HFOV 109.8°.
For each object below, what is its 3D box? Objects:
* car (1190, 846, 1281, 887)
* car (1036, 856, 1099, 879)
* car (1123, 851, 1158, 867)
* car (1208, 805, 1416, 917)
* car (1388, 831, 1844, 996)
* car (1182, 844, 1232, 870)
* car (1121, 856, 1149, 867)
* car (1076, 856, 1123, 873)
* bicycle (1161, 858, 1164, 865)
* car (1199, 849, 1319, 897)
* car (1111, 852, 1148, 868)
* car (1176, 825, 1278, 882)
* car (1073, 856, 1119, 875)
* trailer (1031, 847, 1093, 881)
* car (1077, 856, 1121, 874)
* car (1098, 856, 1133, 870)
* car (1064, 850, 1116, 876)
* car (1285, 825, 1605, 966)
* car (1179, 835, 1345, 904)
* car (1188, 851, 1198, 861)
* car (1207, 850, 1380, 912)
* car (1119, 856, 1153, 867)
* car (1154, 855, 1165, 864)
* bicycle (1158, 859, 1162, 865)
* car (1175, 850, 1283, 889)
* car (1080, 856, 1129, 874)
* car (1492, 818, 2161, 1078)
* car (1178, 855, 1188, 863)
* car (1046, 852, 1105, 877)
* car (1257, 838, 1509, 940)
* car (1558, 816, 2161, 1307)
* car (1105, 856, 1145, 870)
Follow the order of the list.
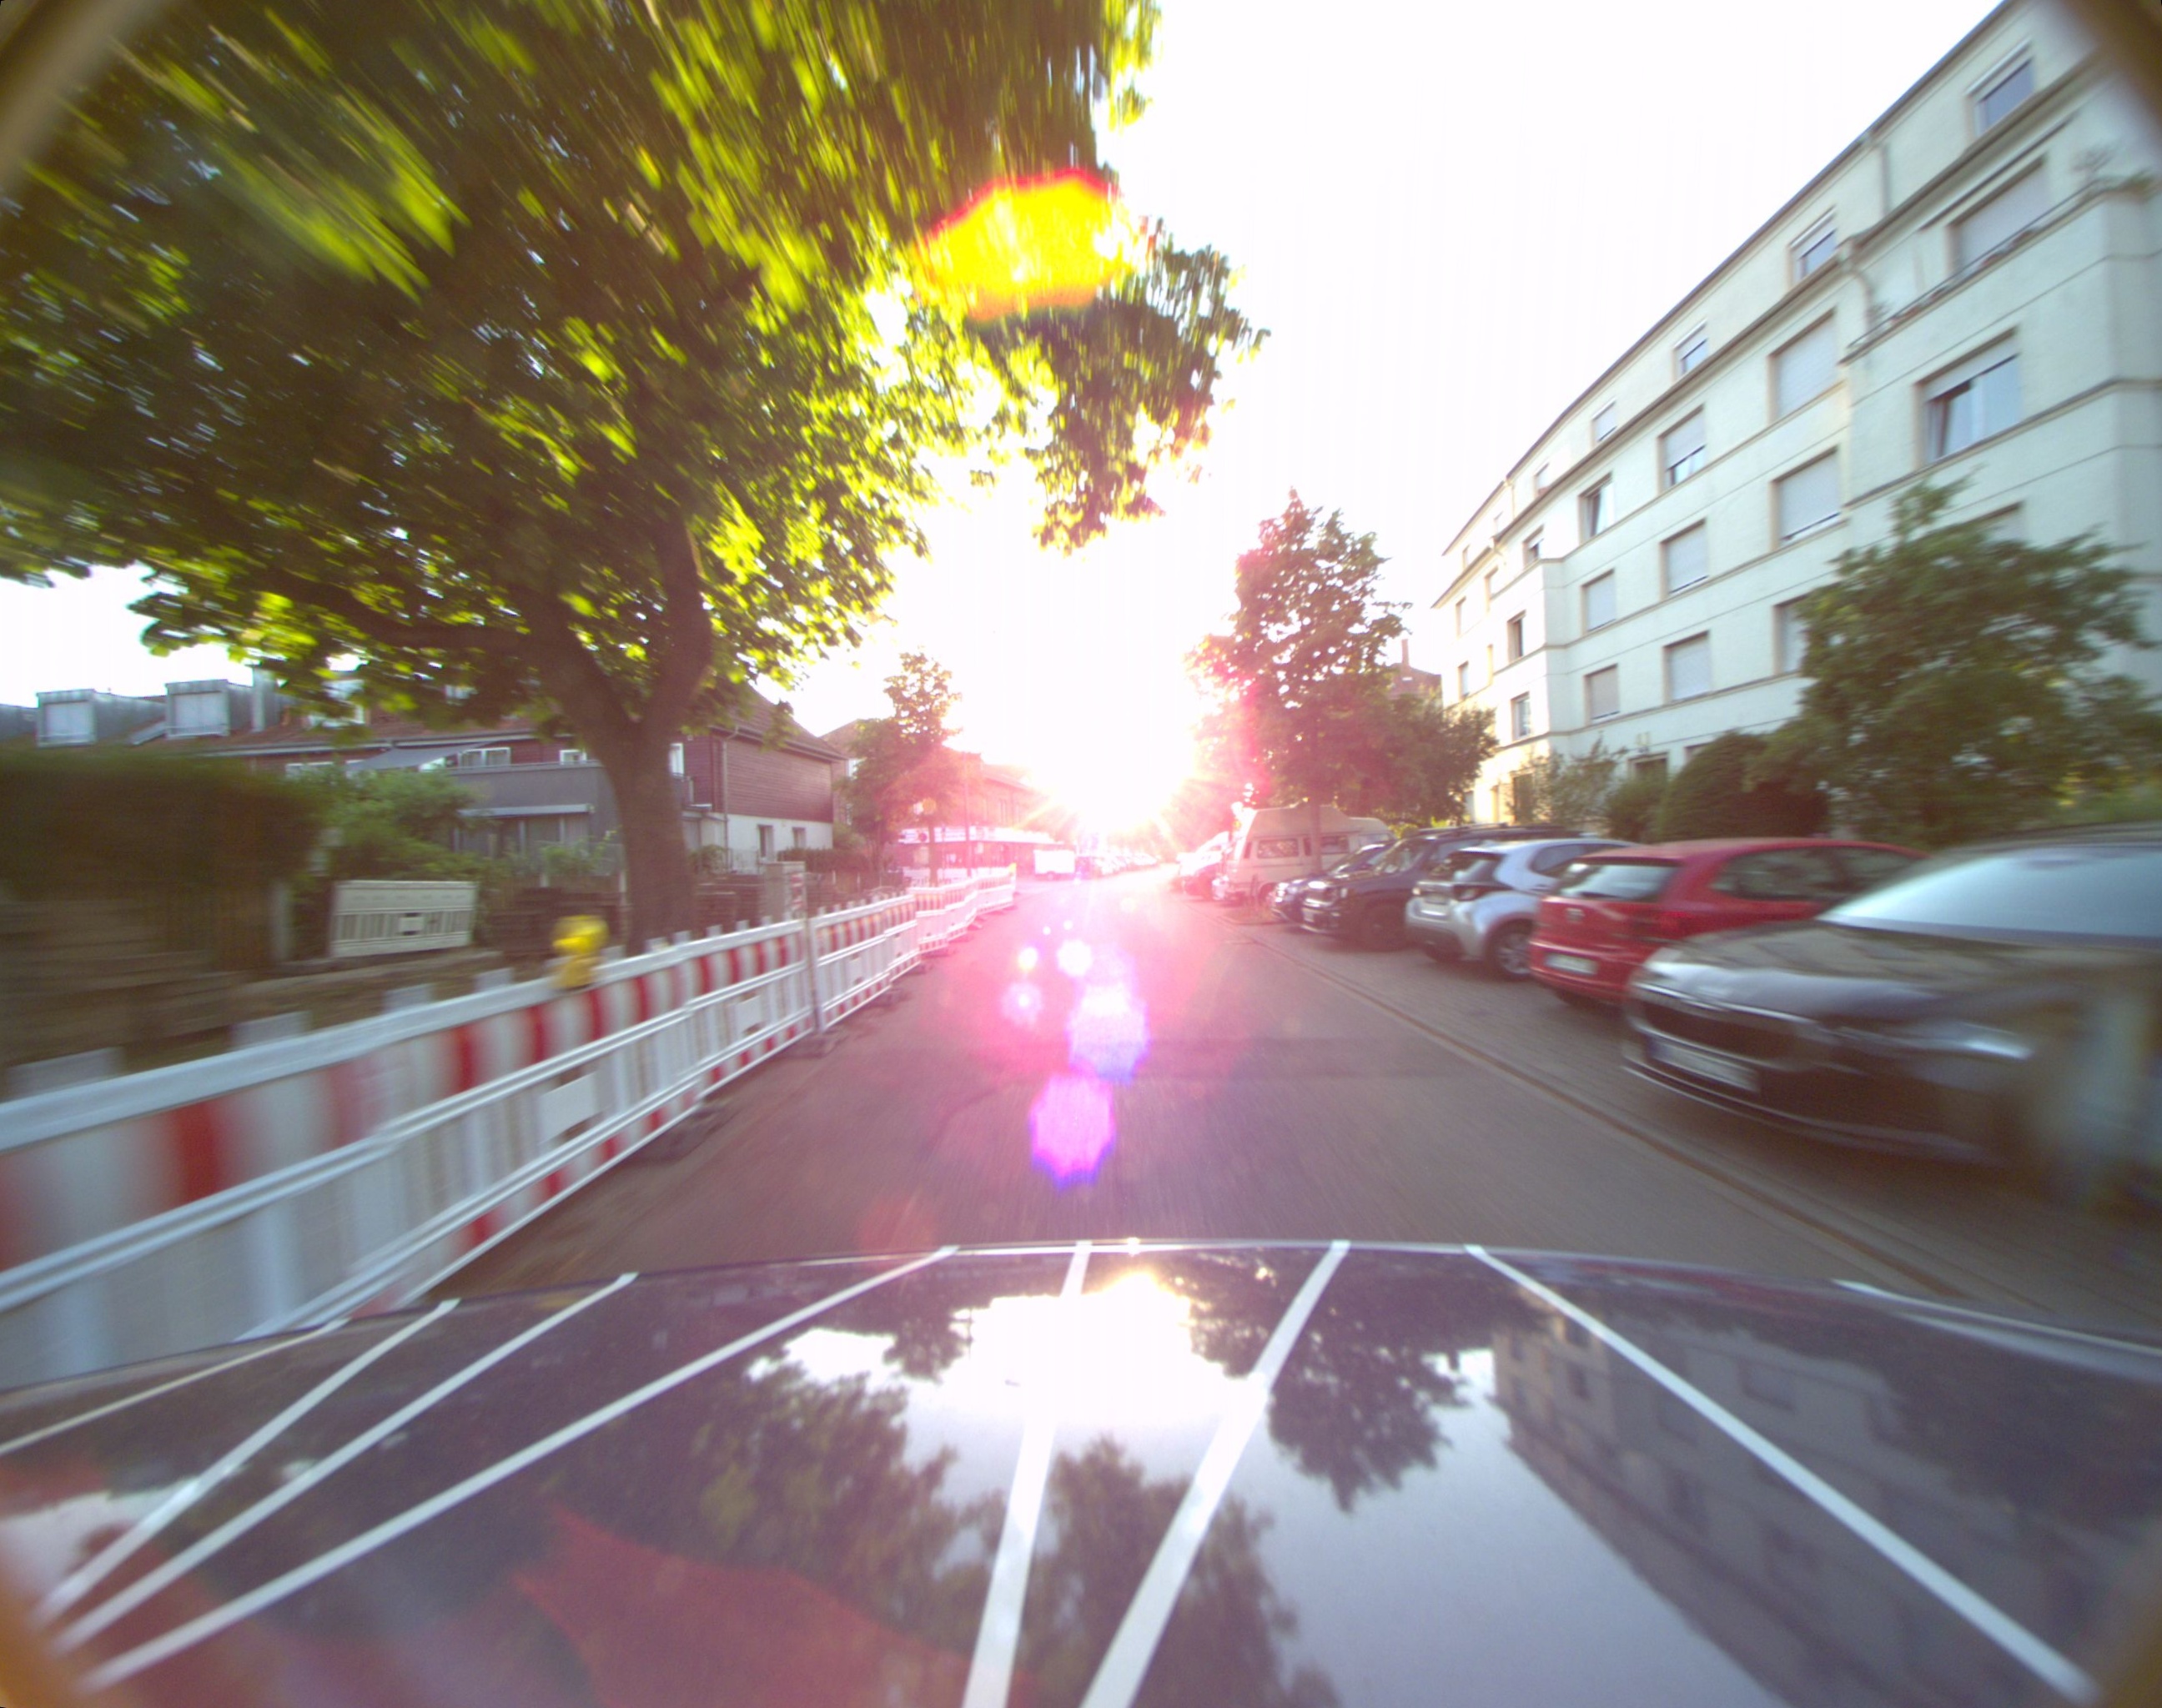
[{"bbox_3d":[6.931,0.557,34.350,3.811,1.513,1.653,-4,0,6],"label":"car"},{"bbox_3d":[-0.963,0.978,57.139,4.435,1.490,1.774,-3,0,9],"label":"car"},{"bbox_3d":[9.068,0.721,115.309,4.967,2.089,2.153,-3,1,15],"label":"car"},{"bbox_3d":[5.558,0.182,18.801,4.512,2.416,2.001,-3,0,4],"label":"car"},{"bbox_3d":[5.929,0.612,8.760,3.998,1.515,1.789,-3,0,-2],"label":"car"},{"bbox_3d":[12.202,0.332,73.691,4.520,2.057,2.002,-5,-2,13],"label":"car"},{"bbox_3d":[7.662,1.070,107.366,3.792,1.488,1.682,0,0,9],"label":"car"},{"bbox_3d":[1.861,1.045,75.339,4.422,1.565,1.983,1,0,8],"label":"car"},{"bbox_3d":[13.054,1.162,121.698,0.357,1.093,1.973,-3,0,10],"label":"bicycle"},{"bbox_3d":[6.108,0.641,26.431,3.777,1.430,1.656,-3,0,3],"label":"car"},{"bbox_3d":[6.393,0.810,100.286,4.594,1.851,2.014,2,1,12],"label":"car"},{"bbox_3d":[7.169,-0.002,37.788,4.741,2.554,2.001,-3,0,6],"label":"car"},{"bbox_3d":[1.410,1.056,70.495,3.953,1.556,1.822,-3,0,7],"label":"car"},{"bbox_3d":[-1.291,0.680,53.729,3.994,2.174,2.001,-3,0,8],"label":"trailer"},{"bbox_3d":[1.759,1.040,72.624,3.994,1.609,1.896,0,0,8],"label":"car"},{"bbox_3d":[4.148,1.074,90.696,3.993,1.537,1.846,1,1,10],"label":"car"},{"bbox_3d":[0.776,0.724,62.804,3.994,1.892,2.001,-3,0,9],"label":"car"},{"bbox_3d":[5.269,0.574,11.405,3.870,1.766,1.843,-3,0,0],"label":"car"},{"bbox_3d":[5.530,0.462,23.742,4.684,1.862,2.000,-3,0,2],"label":"car"},{"bbox_3d":[24.711,0.490,167.646,1.997,2.002,4.003,-3,0,10],"label":"car"},{"bbox_3d":[5.709,0.714,20.874,4.185,1.417,2.000,-3,0,2],"label":"car"},{"bbox_3d":[7.936,1.070,109.993,4.729,1.487,2.002,0,0,10],"label":"car"},{"bbox_3d":[14.892,1.038,143.701,1.798,1.515,4.003,-3,0,10],"label":"car"},{"bbox_3d":[12.638,1.249,121.754,0.357,1.018,1.973,-3,0,10],"label":"bicycle"},{"bbox_3d":[6.092,0.632,31.645,4.252,1.386,1.685,-3,0,8],"label":"car"},{"bbox_3d":[2.408,1.156,78.019,4.794,1.743,2.019,1,-1,9],"label":"car"},{"bbox_3d":[5.754,0.623,6.061,3.998,1.574,1.730,-3,0,-4],"label":"car"},{"bbox_3d":[19.181,0.913,142.463,1.731,1.367,3.766,-3,0,10],"label":"car"},{"bbox_3d":[-0.395,0.798,59.571,4.309,1.788,1.905,-3,0,9],"label":"car"},{"bbox_3d":[5.369,0.612,13.911,3.869,1.585,1.786,-3,0,3],"label":"car"},{"bbox_3d":[5.098,0.637,3.663,4.419,1.605,1.899,-3,0,-4],"label":"car"},{"bbox_3d":[5.582,1.082,95.312,4.702,1.622,2.002,1,0,12],"label":"car"}]
